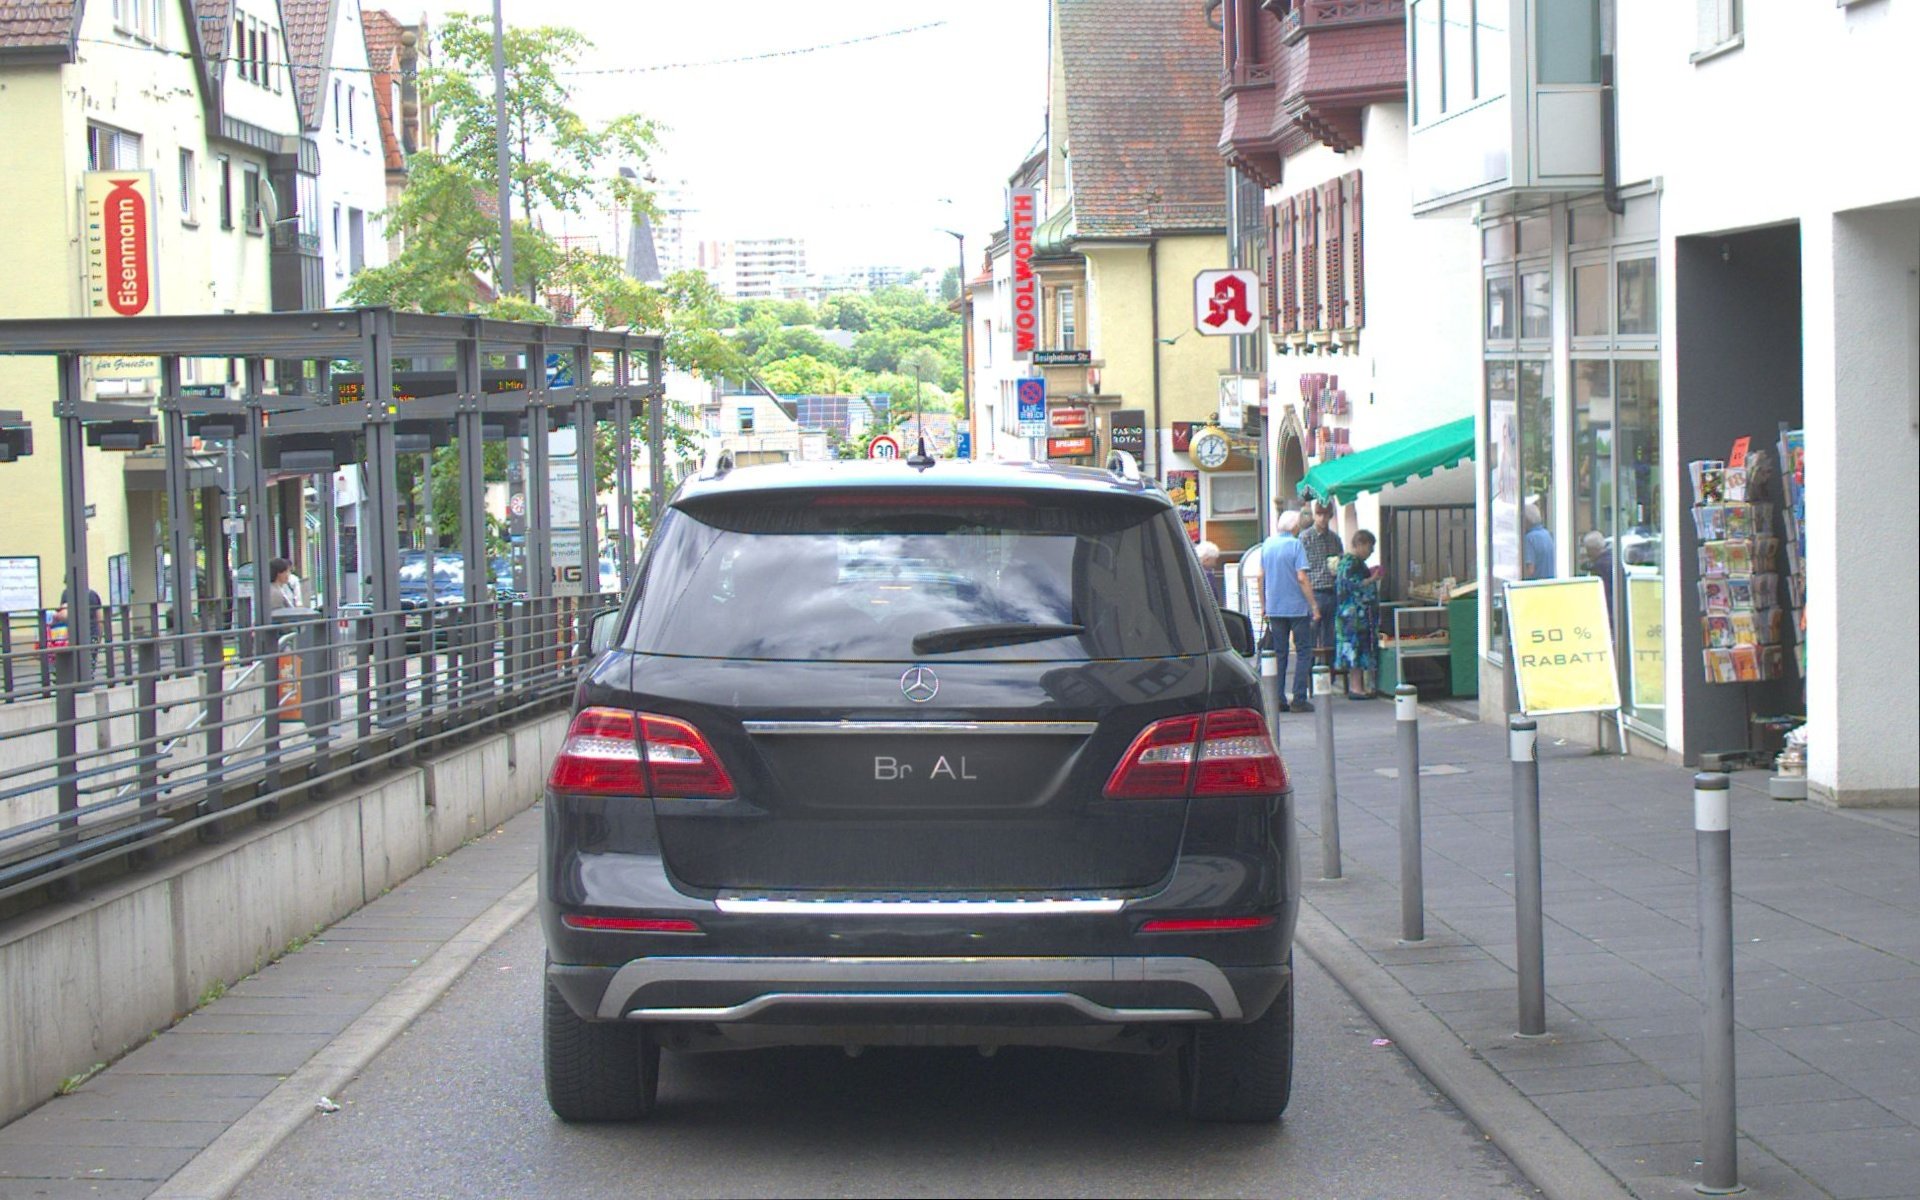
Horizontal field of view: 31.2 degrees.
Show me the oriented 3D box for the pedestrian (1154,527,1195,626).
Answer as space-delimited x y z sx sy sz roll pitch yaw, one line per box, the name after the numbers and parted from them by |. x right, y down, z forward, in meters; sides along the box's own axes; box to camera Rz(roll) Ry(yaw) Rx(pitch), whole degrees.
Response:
3.723 -0.414 59.649 0.606 1.683 0.724 -2 1 -1 | pedestrian

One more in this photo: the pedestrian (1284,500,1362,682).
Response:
3.421 -0.089 32.422 0.573 1.683 0.566 -2 1 -7 | pedestrian

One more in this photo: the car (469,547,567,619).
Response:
-9.480 -0.382 73.909 1.660 1.485 3.748 1 1 -1 | car

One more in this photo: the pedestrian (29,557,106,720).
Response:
-9.335 0.392 35.967 0.625 1.683 0.679 1 1 -1 | pedestrian

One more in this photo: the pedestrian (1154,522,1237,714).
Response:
2.092 0.153 30.584 0.621 1.683 0.566 1 1 -7 | pedestrian

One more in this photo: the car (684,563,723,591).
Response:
-10.657 -0.961 142.975 1.388 1.066 3.113 -2 1 -1 | car

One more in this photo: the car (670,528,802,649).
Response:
-3.304 -0.194 51.318 1.770 1.707 4.000 1 1 -1 | car

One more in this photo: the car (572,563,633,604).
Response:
-10.017 -0.478 96.558 1.388 1.066 3.113 -2 1 -1 | car

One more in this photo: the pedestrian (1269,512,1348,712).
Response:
3.048 0.099 30.106 0.542 1.720 0.528 -2 1 -7 | pedestrian

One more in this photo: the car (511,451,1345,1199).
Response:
-0.162 0.508 9.915 1.900 1.741 4.001 1 1 -3 | car

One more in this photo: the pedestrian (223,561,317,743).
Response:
-6.501 0.485 32.354 0.765 1.683 0.728 0 1 -19 | pedestrian

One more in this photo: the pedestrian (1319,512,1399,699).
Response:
3.648 0.042 31.478 0.573 1.683 0.566 -2 1 -7 | pedestrian

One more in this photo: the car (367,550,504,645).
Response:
-8.619 -0.070 56.743 1.689 1.485 3.979 1 1 -1 | car

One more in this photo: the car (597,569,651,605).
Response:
-10.532 -0.413 107.931 1.388 1.066 3.113 -2 1 -1 | car

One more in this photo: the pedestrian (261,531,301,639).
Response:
-10.681 -0.243 54.078 0.513 1.683 0.541 1 1 -1 | pedestrian

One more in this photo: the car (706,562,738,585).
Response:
-11.770 -1.308 170.244 1.388 1.066 3.113 -2 1 -1 | car
